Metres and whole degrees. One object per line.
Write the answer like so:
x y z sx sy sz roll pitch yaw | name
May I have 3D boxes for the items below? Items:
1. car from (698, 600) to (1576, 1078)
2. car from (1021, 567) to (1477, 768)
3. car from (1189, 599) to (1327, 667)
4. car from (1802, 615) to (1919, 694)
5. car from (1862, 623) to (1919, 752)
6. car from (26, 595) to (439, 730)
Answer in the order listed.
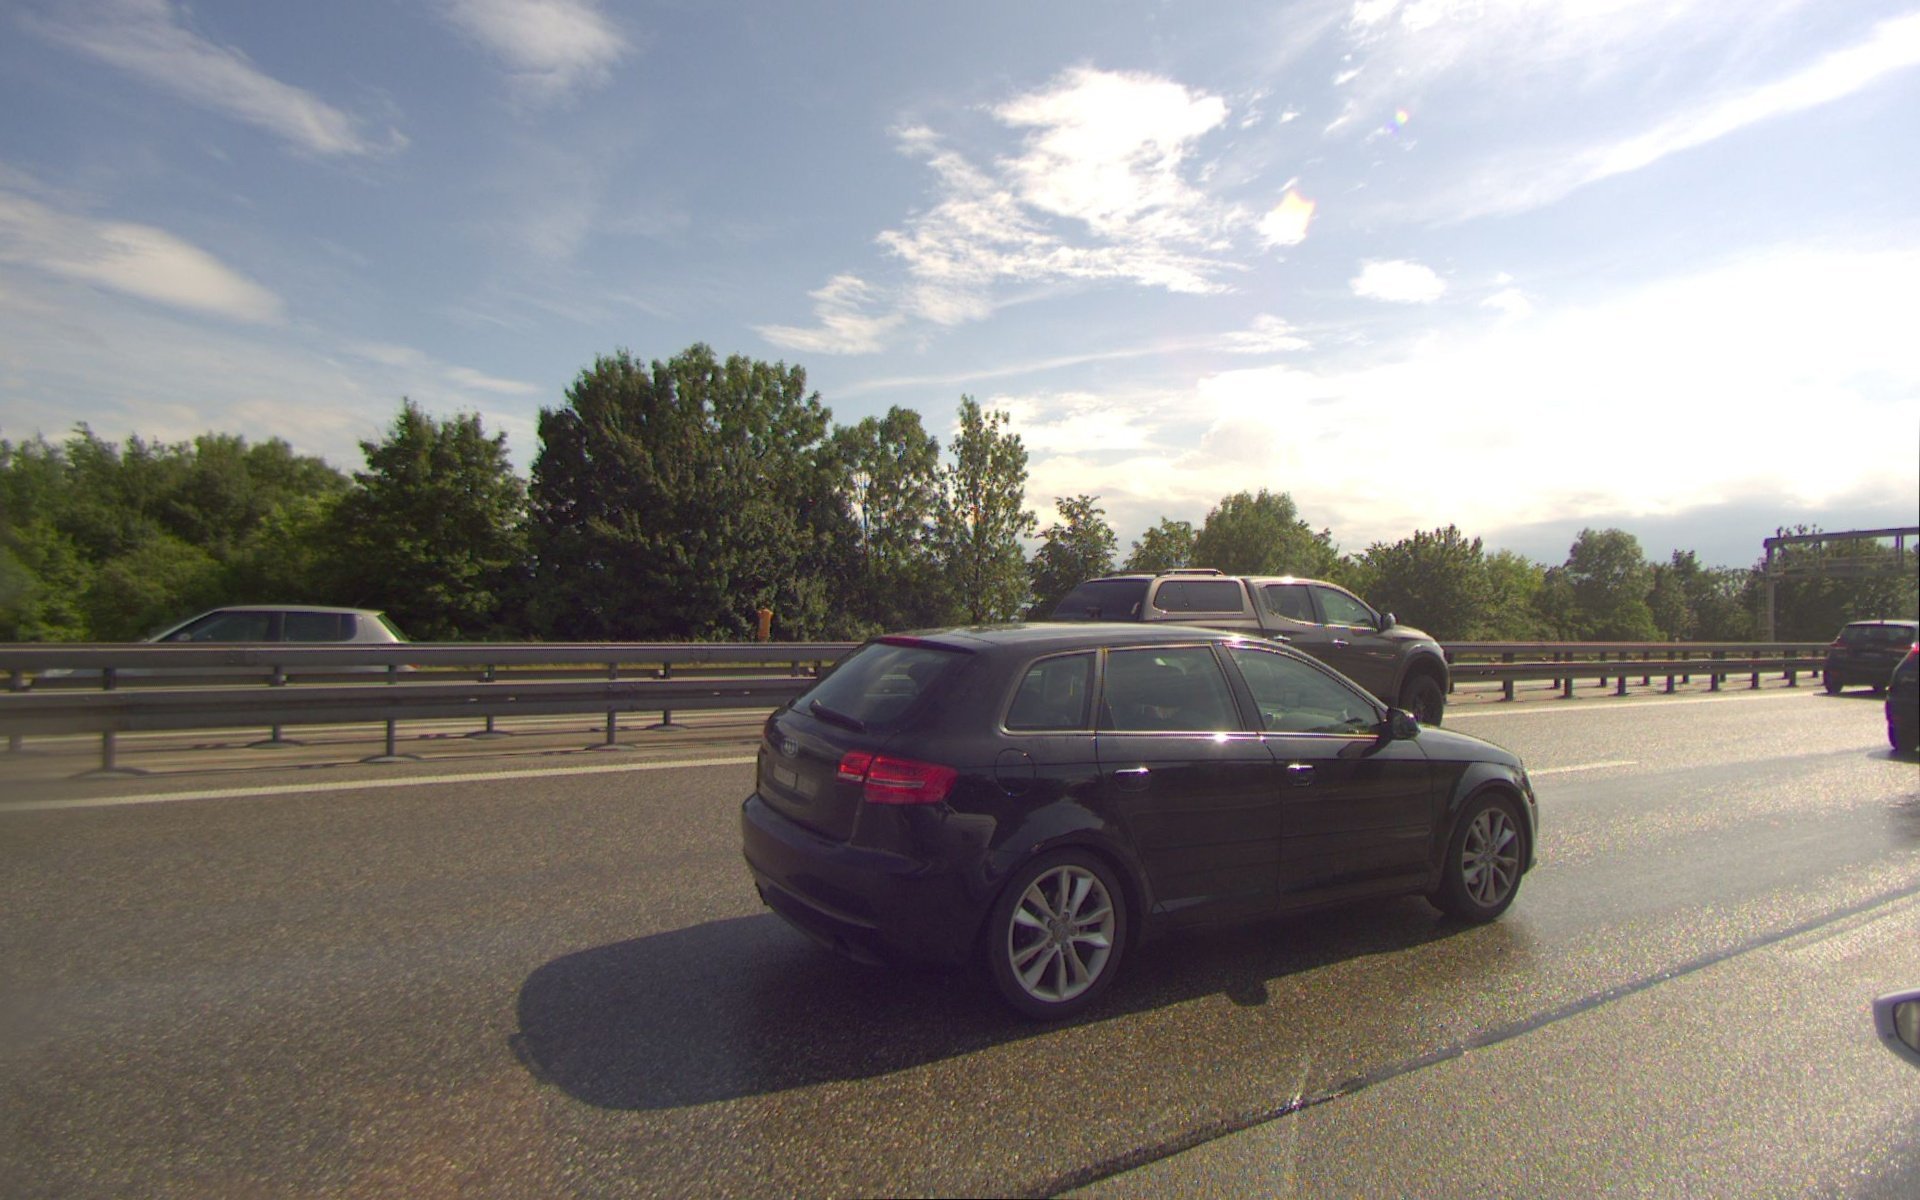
0.966 0.767 4.845 4.006 1.452 1.742 1 0 -30 | car
3.429 0.673 11.476 5.354 1.869 1.798 1 0 -30 | car
9.708 1.051 32.665 4.315 2.040 1.982 1 0 -33 | car
20.544 1.159 22.277 3.872 1.599 1.773 1 0 -32 | car
12.857 1.040 12.165 3.953 1.462 1.750 1 0 -30 | car
-8.812 0.725 12.612 3.953 1.461 1.659 1 -1 -30 | car
